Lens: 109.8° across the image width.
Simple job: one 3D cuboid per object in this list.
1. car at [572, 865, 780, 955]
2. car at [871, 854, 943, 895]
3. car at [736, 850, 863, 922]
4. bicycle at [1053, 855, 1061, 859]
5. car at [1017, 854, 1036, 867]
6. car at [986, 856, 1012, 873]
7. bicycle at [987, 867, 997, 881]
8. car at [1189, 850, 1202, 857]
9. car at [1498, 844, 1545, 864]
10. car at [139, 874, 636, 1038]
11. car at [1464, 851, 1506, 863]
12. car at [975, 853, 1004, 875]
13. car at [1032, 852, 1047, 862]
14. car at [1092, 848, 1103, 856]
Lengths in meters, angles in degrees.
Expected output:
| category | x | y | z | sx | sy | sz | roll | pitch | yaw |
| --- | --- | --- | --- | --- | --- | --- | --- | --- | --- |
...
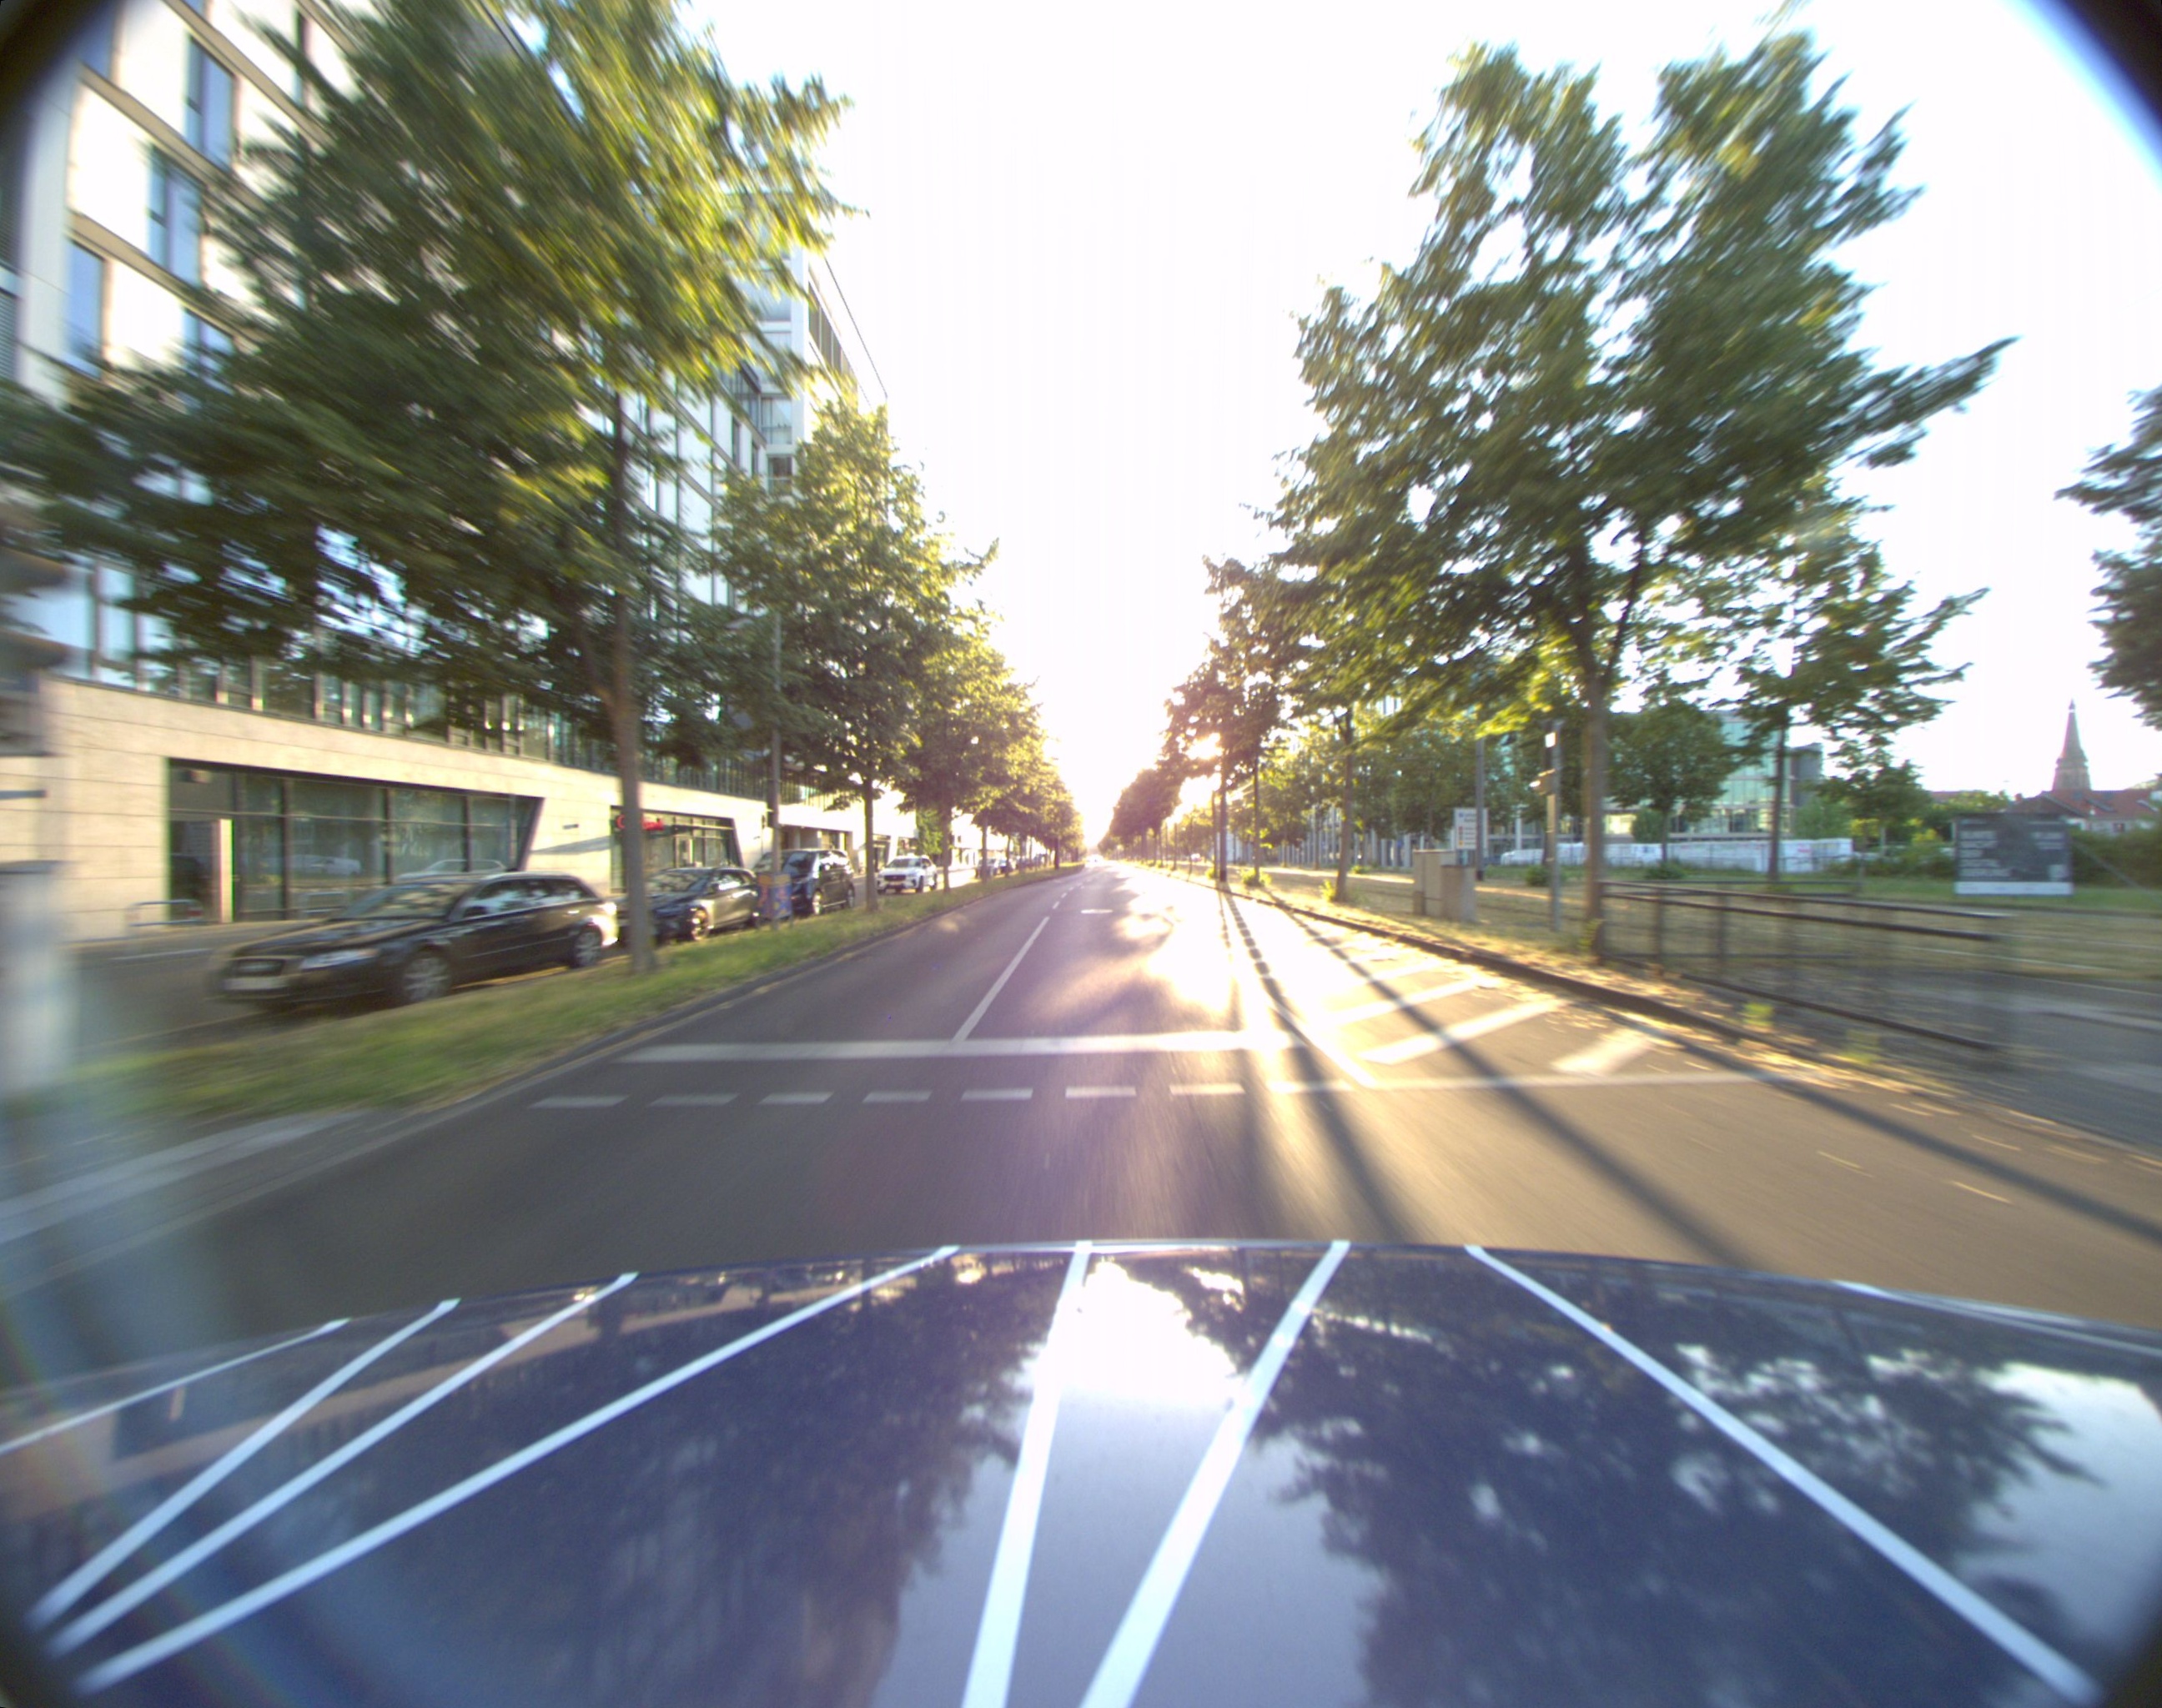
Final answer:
| category | x | y | z | sx | sy | sz | roll | pitch | yaw |
| --- | --- | --- | --- | --- | --- | --- | --- | --- | --- |
| car | -7.981 | 1.010 | 15.593 | 1.814 | 1.463 | 4.664 | 0 | 1 | -1 |
| car | -7.768 | 0.861 | 34.409 | 1.998 | 1.633 | 4.878 | 0 | 1 | 2 |
| car | -7.960 | 0.815 | 22.030 | 1.999 | 1.841 | 4.664 | 0 | 1 | -1 |
| bicycle | -5.032 | 0.586 | 157.563 | 1.718 | 0.905 | 0.363 | -1 | 0 | 34 |
| car | -6.438 | 0.752 | 89.436 | 1.785 | 1.485 | 4.000 | -4 | 0 | 1 |
| car | -7.334 | 0.909 | 68.442 | 1.857 | 1.359 | 4.833 | 0 | 1 | -1 |
| bicycle | -5.237 | 1.169 | 44.847 | 0.316 | 0.818 | 1.552 | 0 | 1 | 2 |
| car | 22.900 | -0.064 | 151.711 | 1.907 | 1.477 | 4.630 | 0 | 0 | -1 |
| car | 47.102 | 0.005 | 81.418 | 2.212 | 2.002 | 5.084 | 0 | 0 | 1 |
| car | -7.973 | 1.036 | 9.566 | 1.873 | 1.403 | 4.646 | 0 | 1 | 2 |
| car | 48.195 | 0.358 | 90.767 | 3.996 | 1.437 | 1.895 | 0 | 1 | 4 |
| car | -7.107 | 0.750 | 59.013 | 1.714 | 1.506 | 3.758 | -3 | 0 | 0 |
| car | -6.196 | 0.436 | 113.680 | 1.843 | 1.561 | 4.061 | -1 | 0 | 0 |
| car | 3.329 | -0.419 | 153.497 | 1.998 | 1.473 | 4.335 | 0 | 0 | 0 |
